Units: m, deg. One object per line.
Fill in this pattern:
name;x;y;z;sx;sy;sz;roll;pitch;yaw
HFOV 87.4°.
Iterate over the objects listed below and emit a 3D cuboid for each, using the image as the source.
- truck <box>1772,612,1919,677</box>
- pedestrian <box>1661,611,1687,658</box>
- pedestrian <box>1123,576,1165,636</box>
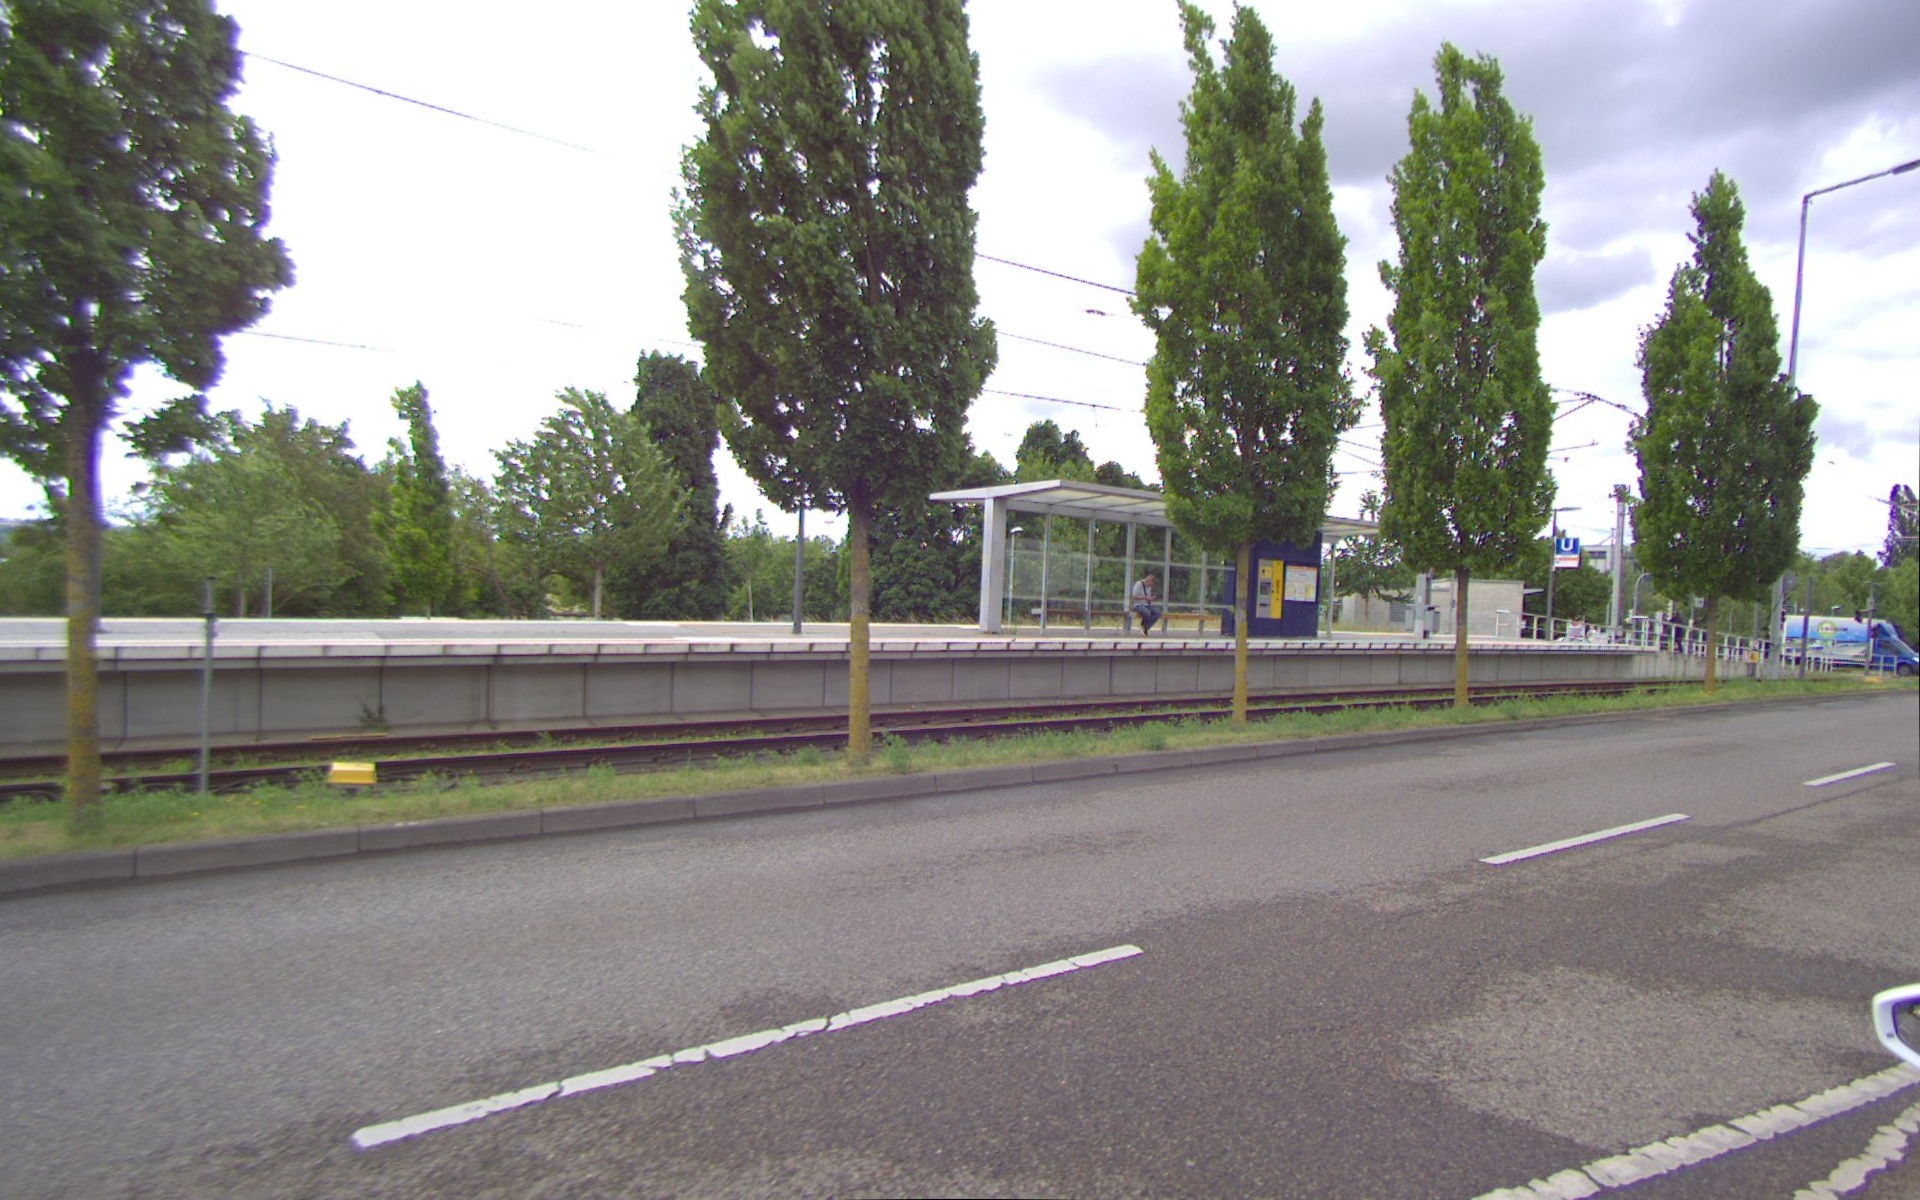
truck;55.379;2.653;62.454;2.665;3.647;7.192;-1;1;-35
pedestrian;28.964;1.392;40.741;0.785;1.852;0.568;2;0;-35
pedestrian;4.031;0.122;22.010;0.653;1.286;0.606;-1;1;-36
